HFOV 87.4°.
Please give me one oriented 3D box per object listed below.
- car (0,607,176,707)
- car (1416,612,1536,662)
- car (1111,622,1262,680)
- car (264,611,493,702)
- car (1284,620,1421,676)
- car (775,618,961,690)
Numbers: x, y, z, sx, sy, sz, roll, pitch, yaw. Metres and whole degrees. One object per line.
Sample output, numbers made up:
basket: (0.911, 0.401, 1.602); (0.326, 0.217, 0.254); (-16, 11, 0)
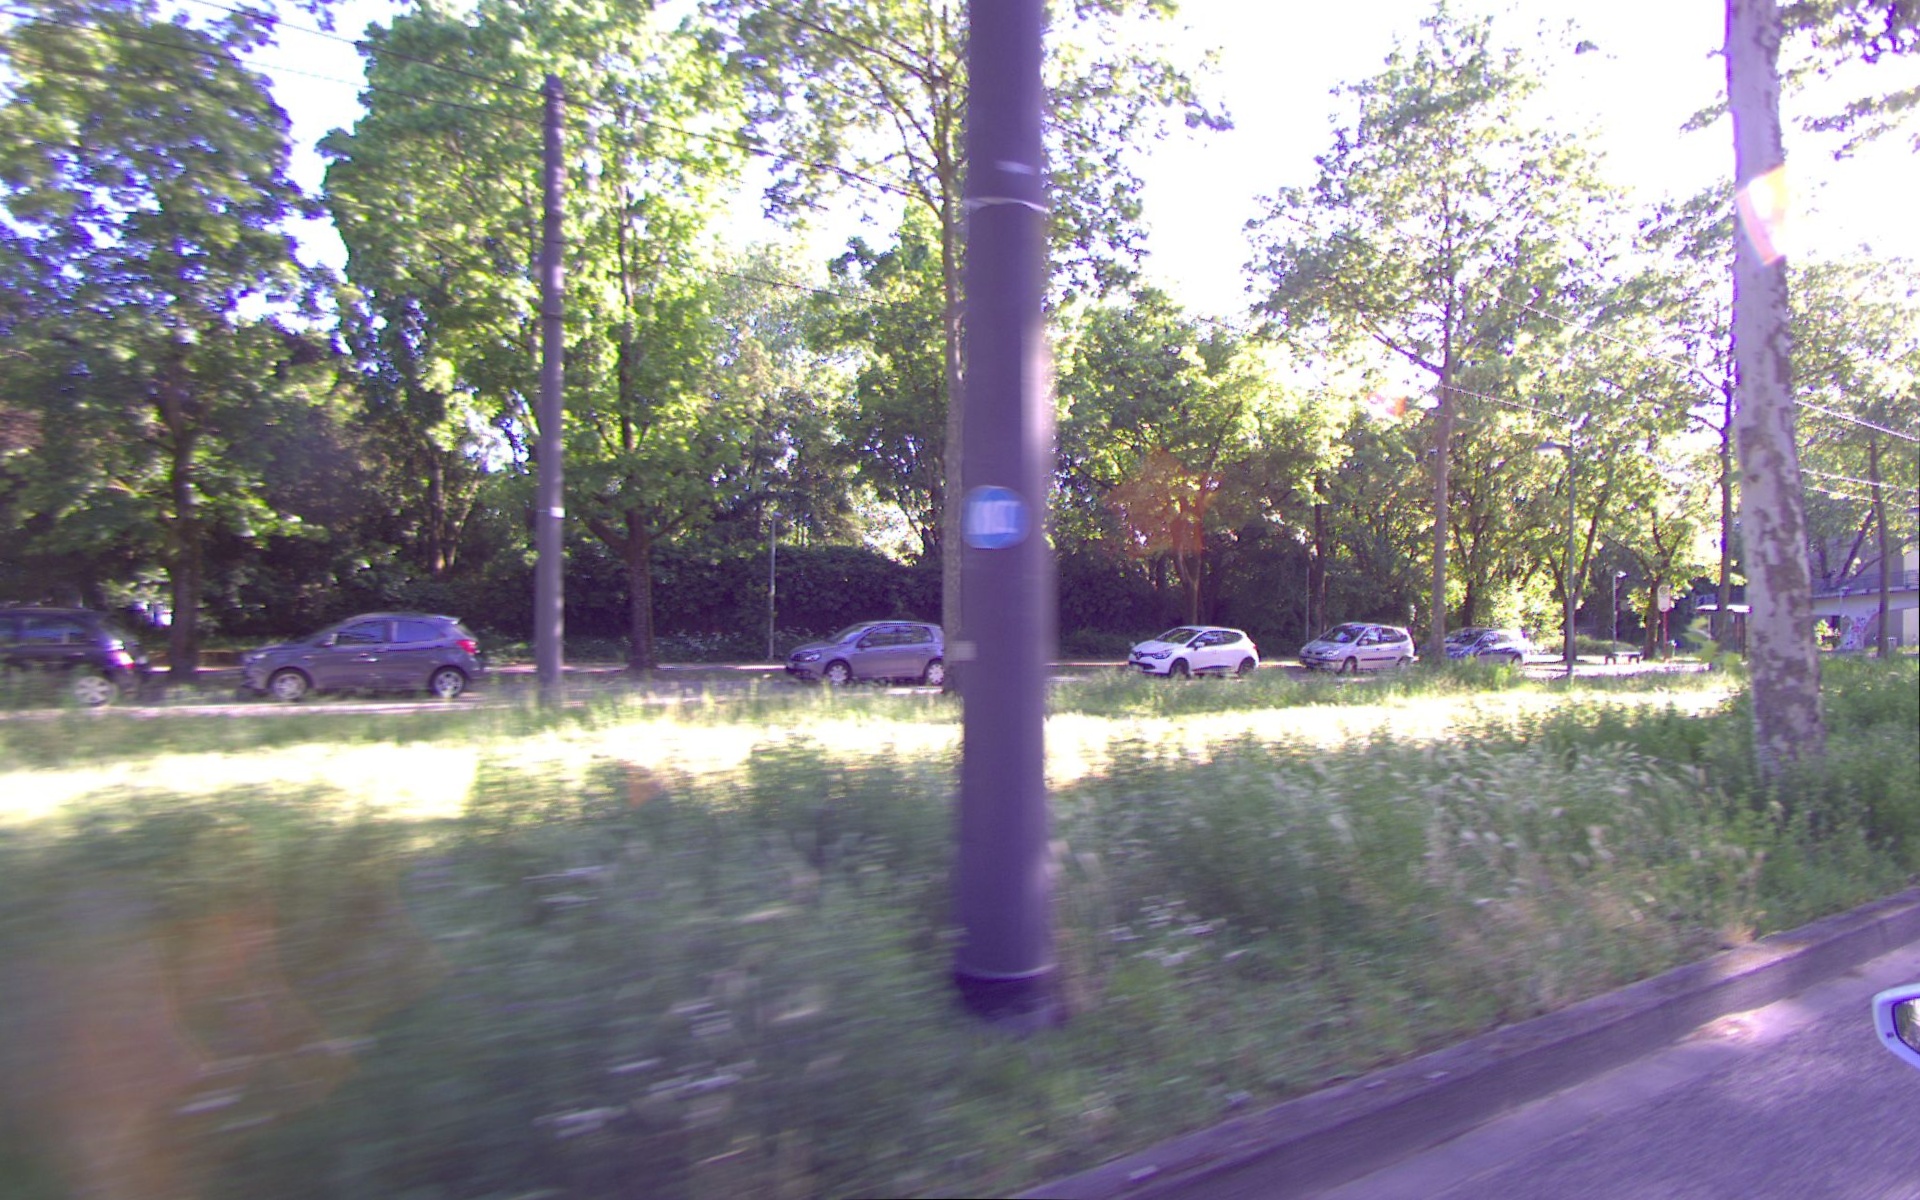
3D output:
car: (-15.119, 0.886, 16.225); (3.618, 1.472, 1.638); (1, 2, -29)
car: (18.388, 1.308, 35.759); (4.117, 1.611, 1.779); (1, 2, -29)
car: (6.586, 1.437, 29.173); (3.951, 1.472, 1.985); (1, 2, -29)
car: (-10.773, 1.011, 18.849); (3.530, 1.472, 1.864); (1, 2, -29)
car: (12.861, 1.531, 32.884); (4.117, 1.611, 1.985); (1, 2, -29)
car: (-2.198, 1.244, 23.988); (3.951, 1.472, 1.985); (1, 2, -29)
